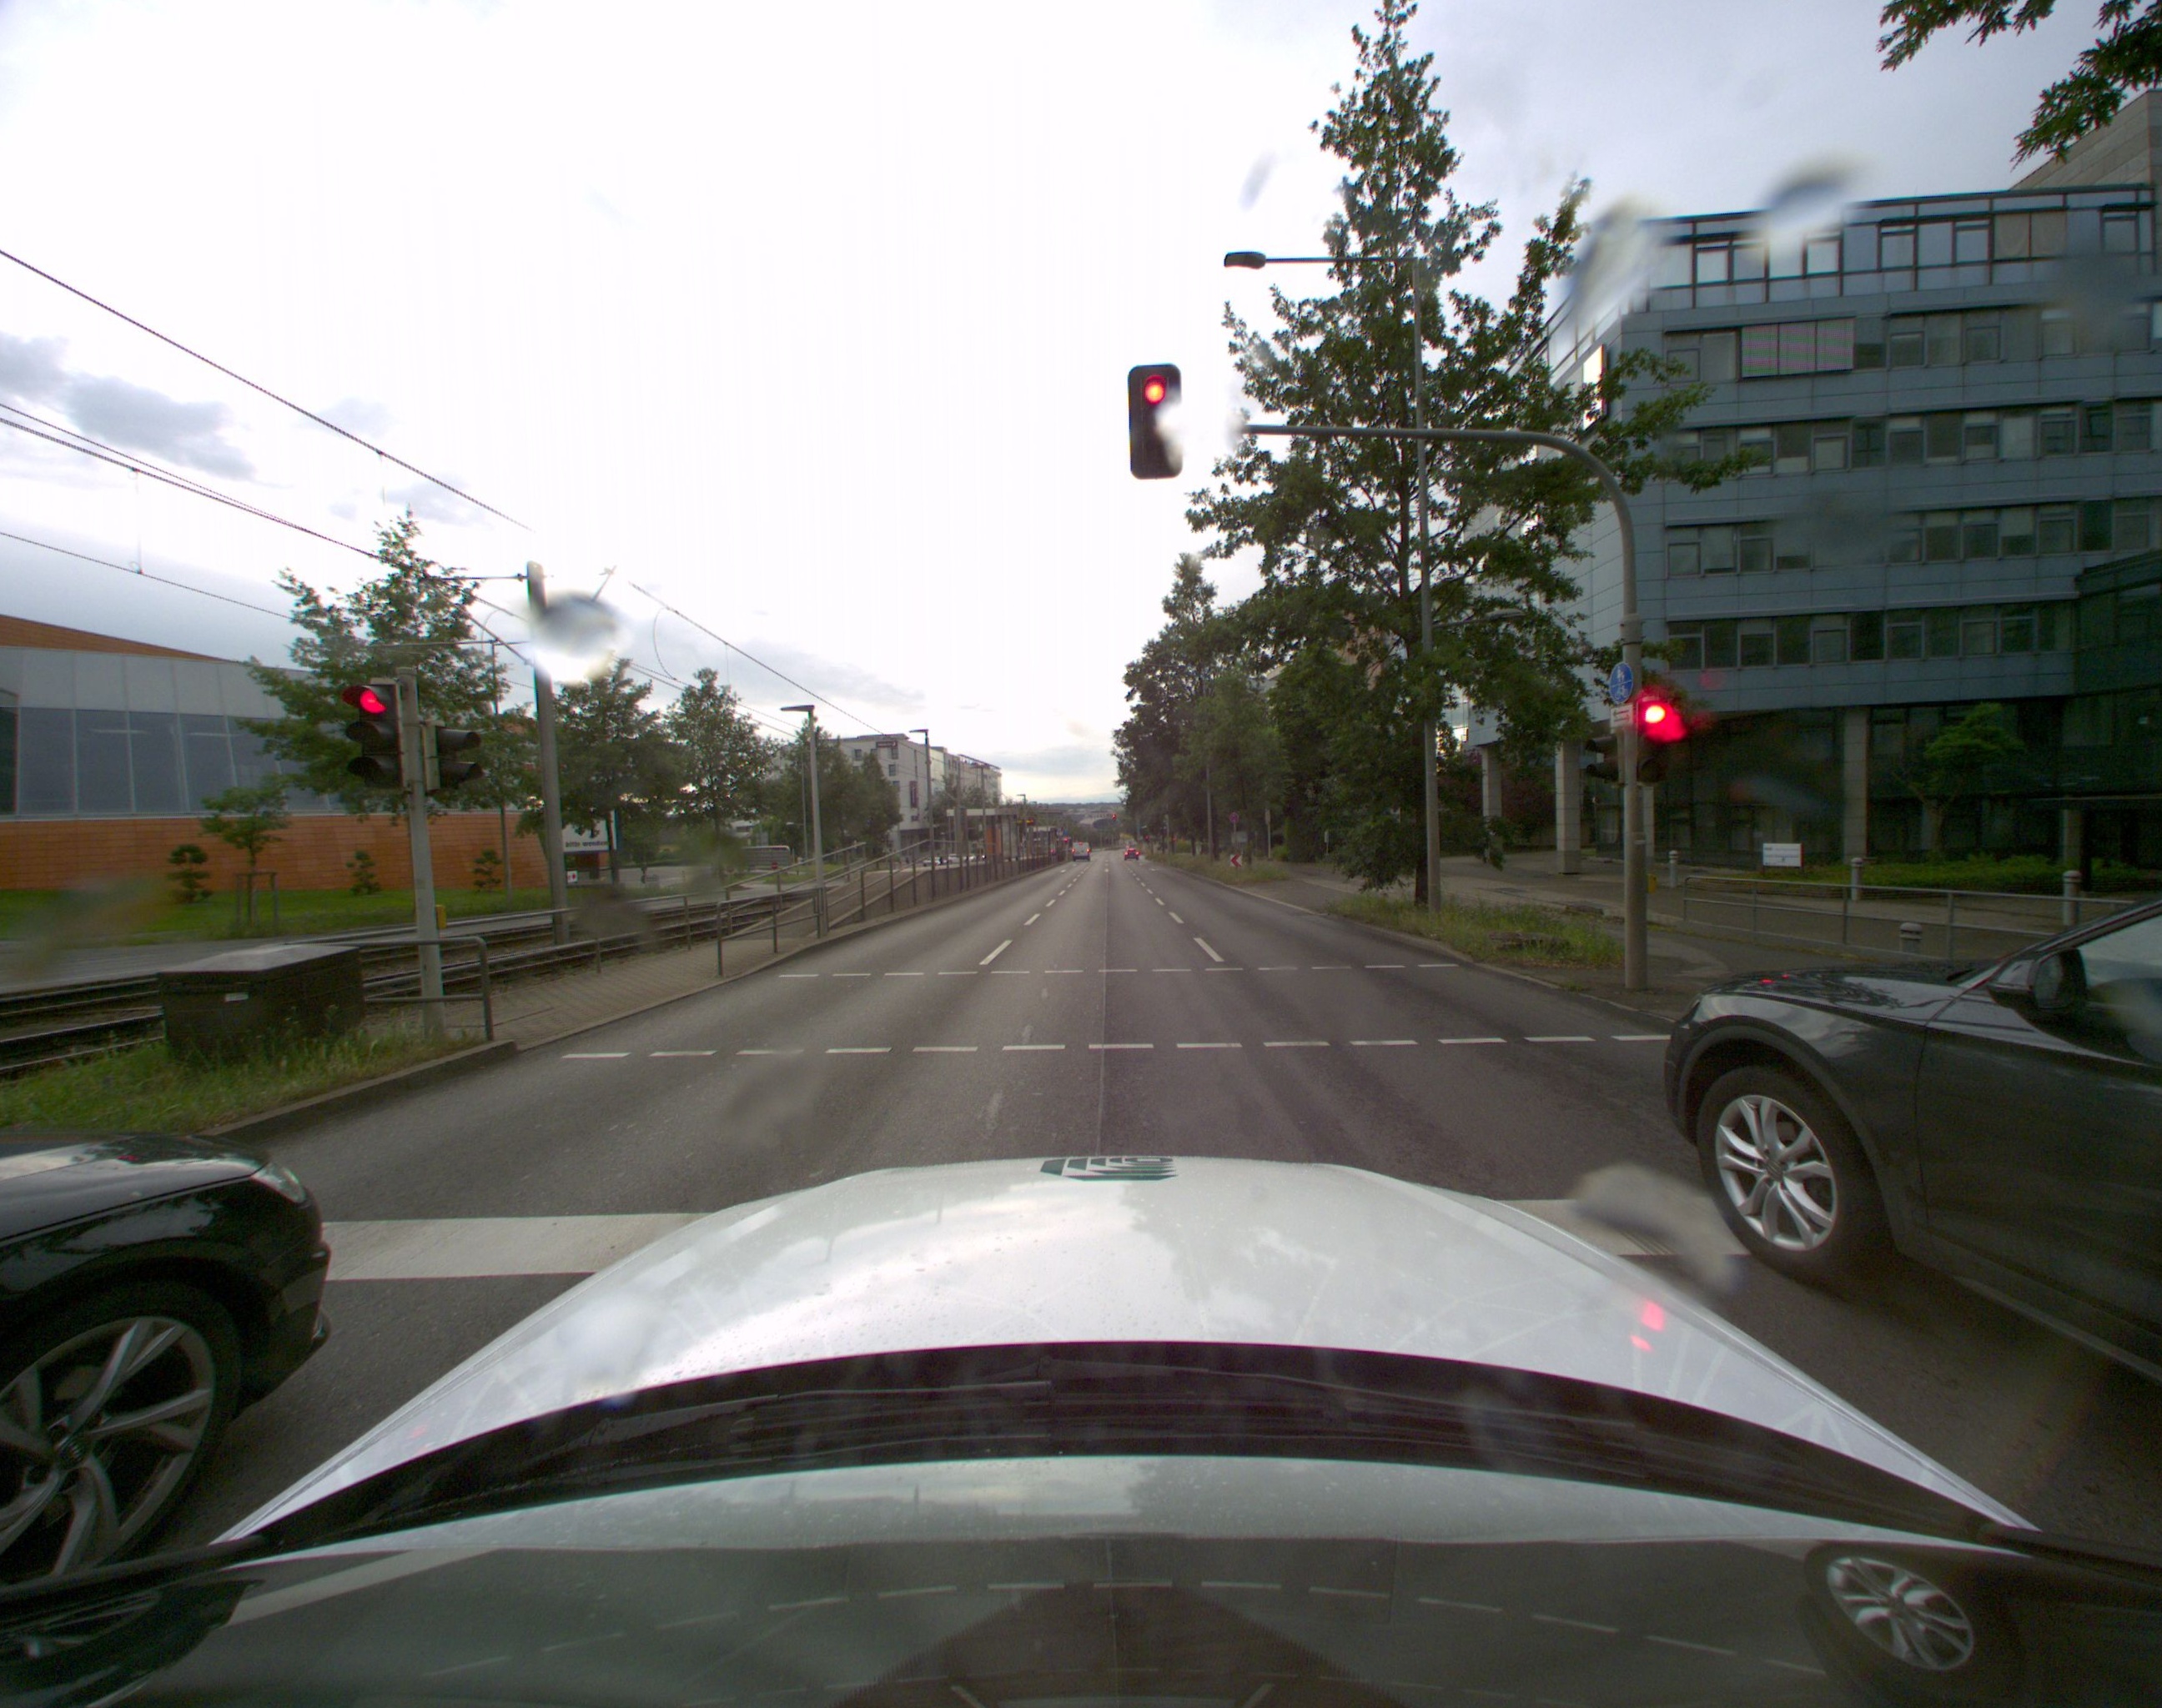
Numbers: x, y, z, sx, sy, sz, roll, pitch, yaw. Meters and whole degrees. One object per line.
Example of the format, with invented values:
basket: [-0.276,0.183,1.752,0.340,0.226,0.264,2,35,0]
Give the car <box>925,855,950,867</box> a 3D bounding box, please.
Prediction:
car: [-20.029,1.009,113.756,1.665,1.436,3.833,-4,0,-42]

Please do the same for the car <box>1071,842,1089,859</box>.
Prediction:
car: [-0.065,-0.464,100.718,2.086,2.053,4.607,-1,0,1]

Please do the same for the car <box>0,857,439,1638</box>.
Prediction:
car: [-2.978,0.774,0.304,1.774,1.466,4.515,-1,0,2]

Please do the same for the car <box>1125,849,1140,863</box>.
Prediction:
car: [6.486,0.180,102.607,1.767,1.691,3.847,-1,0,2]

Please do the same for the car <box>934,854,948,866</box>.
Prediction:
car: [-17.959,0.807,104.255,1.651,1.436,3.865,-4,0,-11]

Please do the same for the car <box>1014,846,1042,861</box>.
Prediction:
car: [-7.962,-0.073,122.136,3.991,2.013,1.752,-1,0,-13]

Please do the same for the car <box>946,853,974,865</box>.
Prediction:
car: [-18.486,0.773,124.388,4.094,1.436,1.648,-4,0,-13]

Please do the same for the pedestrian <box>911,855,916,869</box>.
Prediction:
pedestrian: [-21.815,1.045,106.325,0.473,1.920,0.490,-1,0,1]

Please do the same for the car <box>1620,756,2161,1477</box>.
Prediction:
car: [3.297,0.571,1.438,1.811,1.612,4.472,-1,0,2]

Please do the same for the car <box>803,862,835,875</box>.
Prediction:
car: [-31.126,1.695,96.761,3.341,1.387,1.440,-1,0,18]
